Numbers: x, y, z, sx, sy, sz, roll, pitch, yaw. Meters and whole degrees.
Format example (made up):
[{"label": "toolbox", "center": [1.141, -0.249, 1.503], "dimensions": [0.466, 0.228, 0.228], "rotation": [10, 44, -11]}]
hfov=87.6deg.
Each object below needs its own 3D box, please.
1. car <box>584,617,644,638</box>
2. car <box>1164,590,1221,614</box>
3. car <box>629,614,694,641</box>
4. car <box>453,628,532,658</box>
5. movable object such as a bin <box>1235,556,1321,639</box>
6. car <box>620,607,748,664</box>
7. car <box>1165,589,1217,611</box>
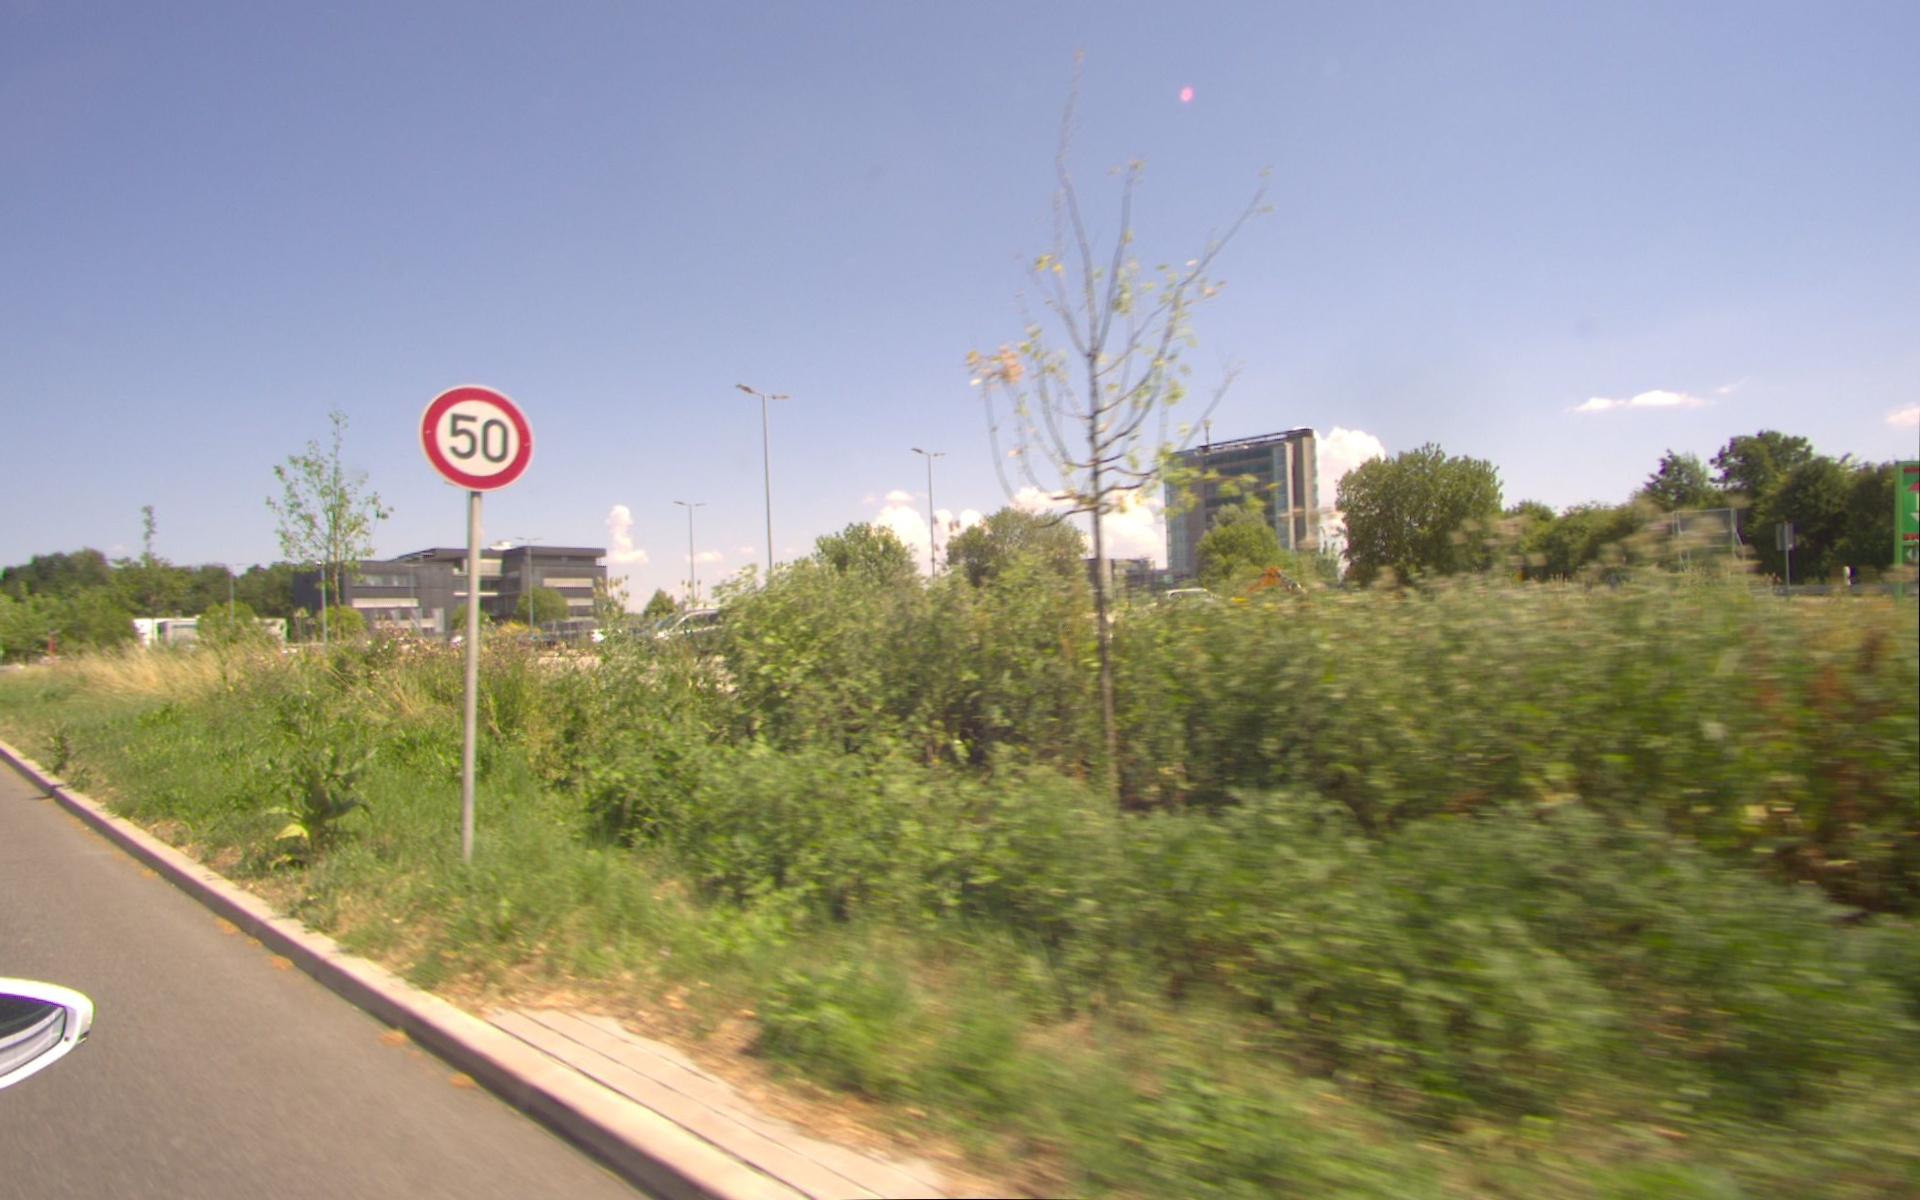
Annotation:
[{"label": "car", "center": [-26.075, 2.091, 75.556], "dimensions": [1.676, 1.358, 3.972], "rotation": [-4, -1, 37]}, {"label": "car", "center": [17.212, 0.131, 74.178], "dimensions": [3.924, 1.549, 1.875], "rotation": [-3, -1, 9]}, {"label": "car", "center": [-20.433, 1.861, 68.751], "dimensions": [1.970, 1.662, 3.980], "rotation": [0, 2, 30]}, {"label": "car", "center": [-29.220, 2.681, 62.660], "dimensions": [1.906, 1.662, 3.966], "rotation": [-4, -1, 42]}, {"label": "movable object such as a bin", "center": [16.931, -0.214, 53.854], "dimensions": [2.930, 4.100, 8.099], "rotation": [-1, 2, 7]}, {"label": "car", "center": [-10.649, 1.340, 38.908], "dimensions": [1.917, 1.940, 4.440], "rotation": [-2, 1, 40]}, {"label": "car", "center": [18.883, 0.008, 82.030], "dimensions": [3.924, 1.549, 1.875], "rotation": [-3, -1, 9]}]
